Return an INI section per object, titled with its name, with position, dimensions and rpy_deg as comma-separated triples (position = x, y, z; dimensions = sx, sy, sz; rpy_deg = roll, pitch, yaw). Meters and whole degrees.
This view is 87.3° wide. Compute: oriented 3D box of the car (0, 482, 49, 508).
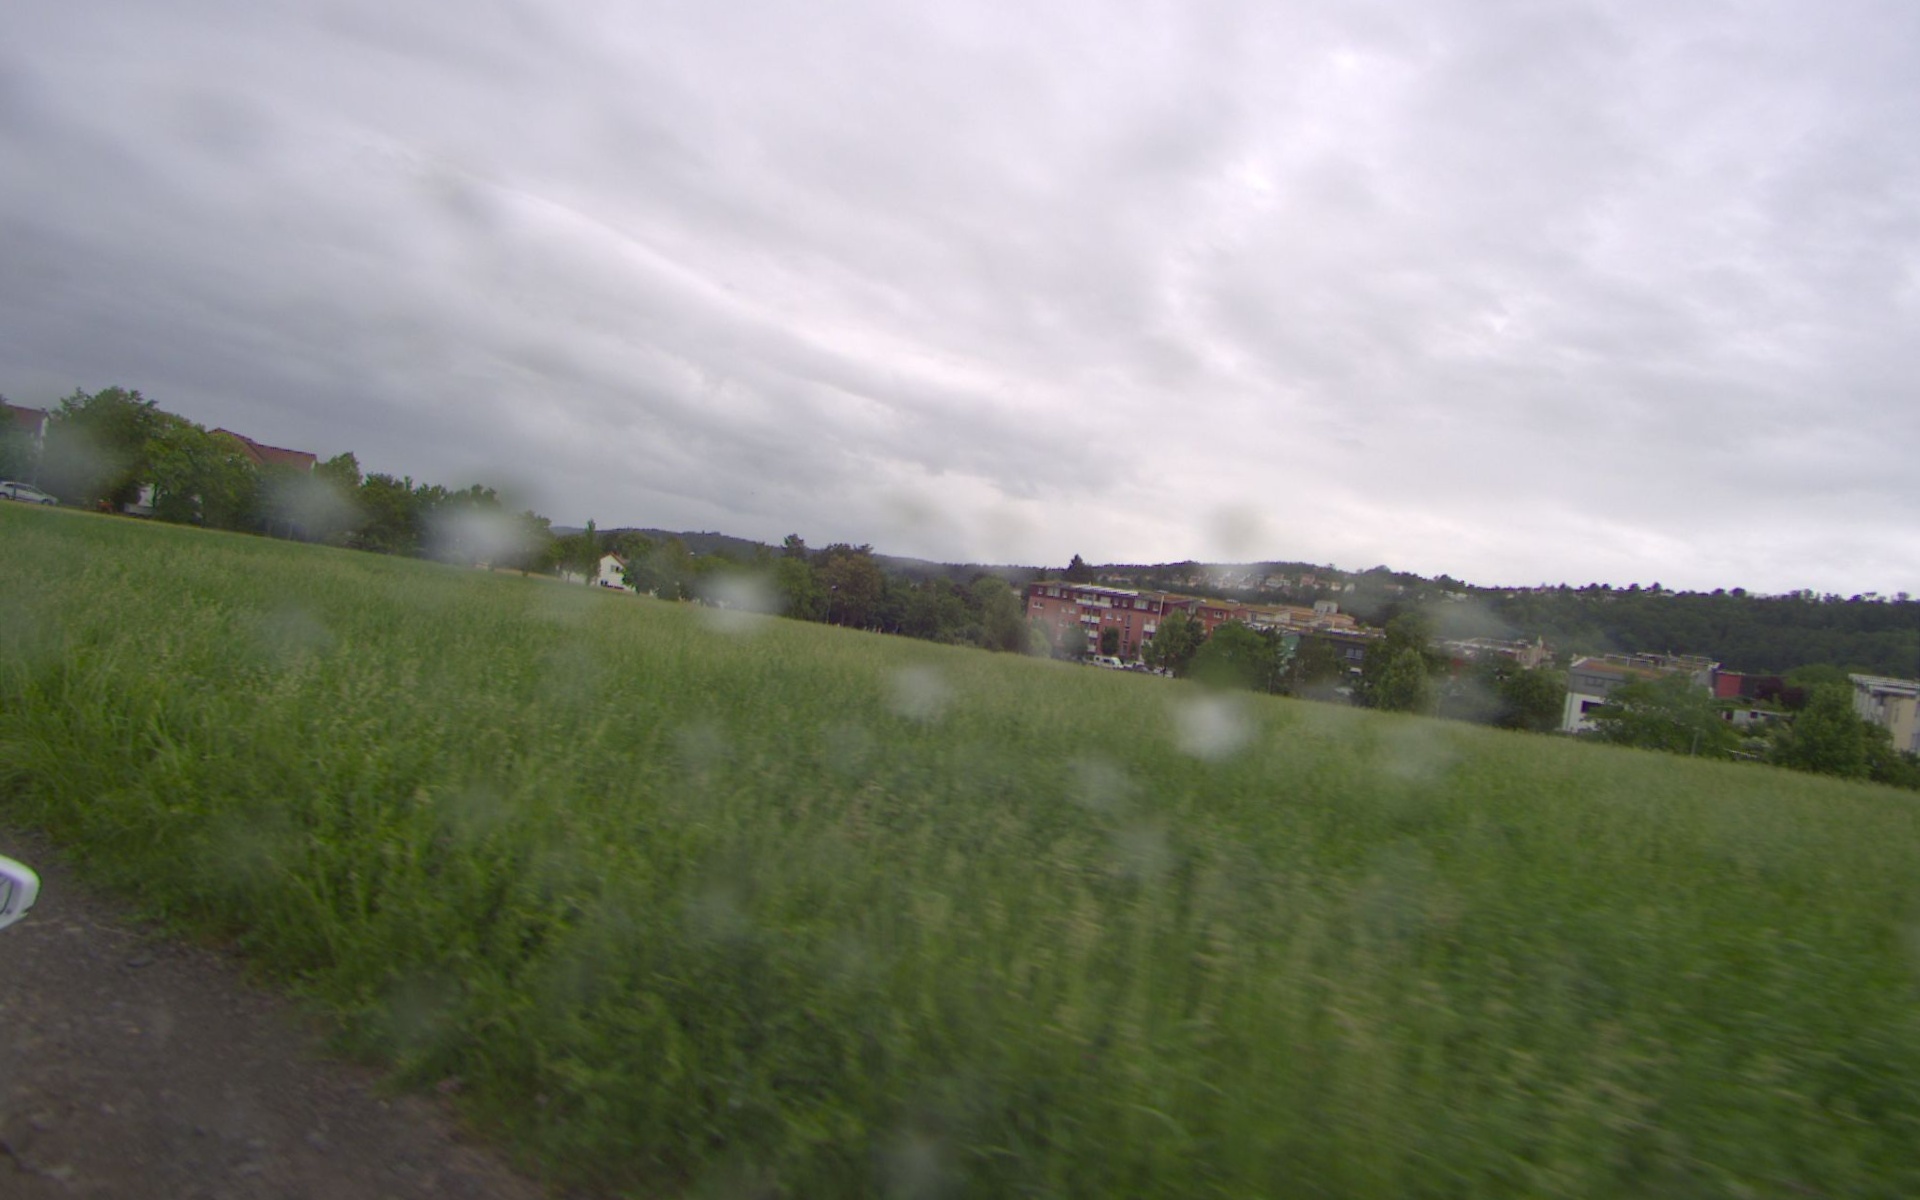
[car]
position = -78.800, -8.806, 84.168
dimensions = 1.590, 1.582, 3.701
rpy_deg = 6, -2, 45
